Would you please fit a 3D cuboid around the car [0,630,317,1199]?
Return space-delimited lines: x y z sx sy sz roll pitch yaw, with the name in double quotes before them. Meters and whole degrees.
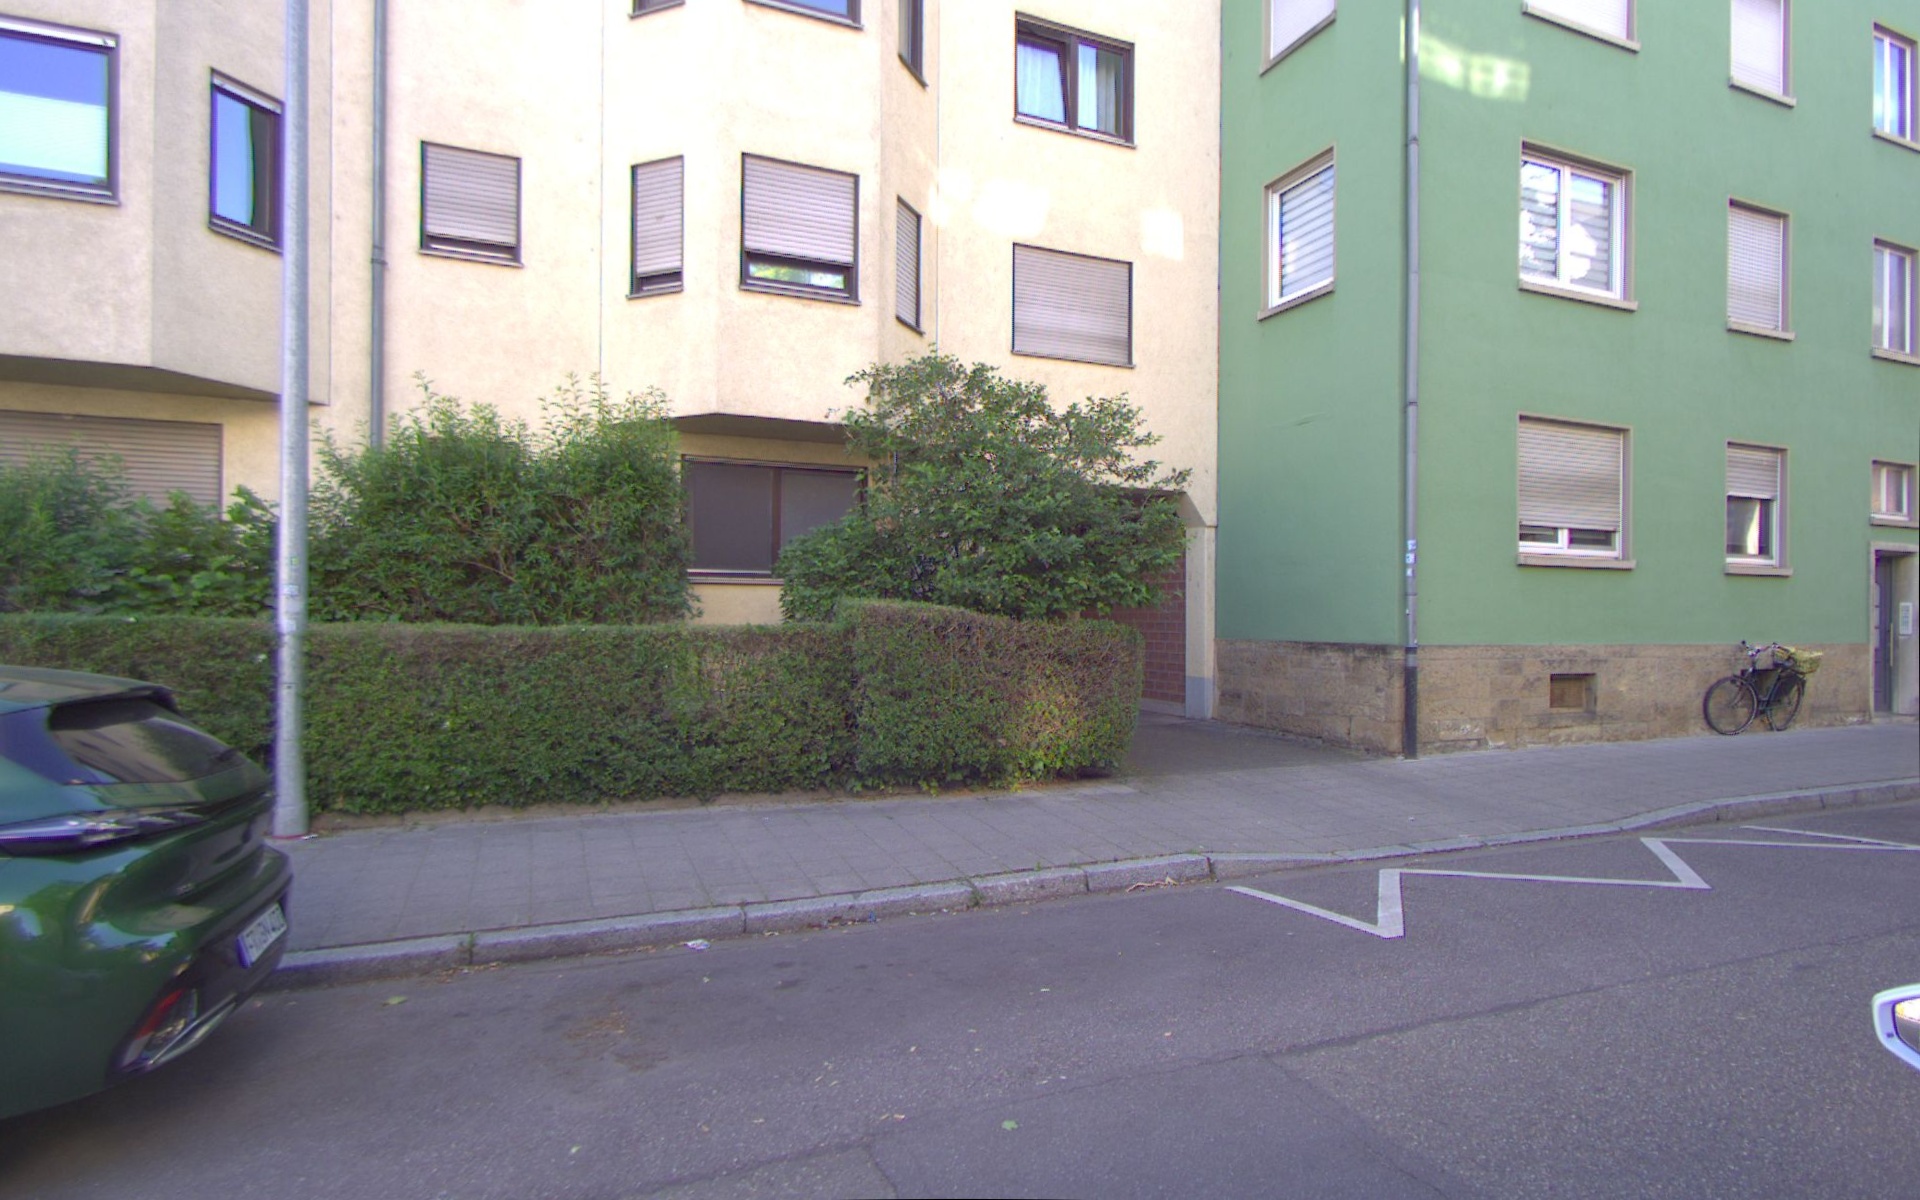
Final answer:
"car" -4.237 0.842 2.584 4.077 1.516 1.748 1 -3 -24

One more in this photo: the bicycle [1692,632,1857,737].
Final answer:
"bicycle" 10.146 1.016 12.501 2.246 1.194 0.549 1 3 -23
